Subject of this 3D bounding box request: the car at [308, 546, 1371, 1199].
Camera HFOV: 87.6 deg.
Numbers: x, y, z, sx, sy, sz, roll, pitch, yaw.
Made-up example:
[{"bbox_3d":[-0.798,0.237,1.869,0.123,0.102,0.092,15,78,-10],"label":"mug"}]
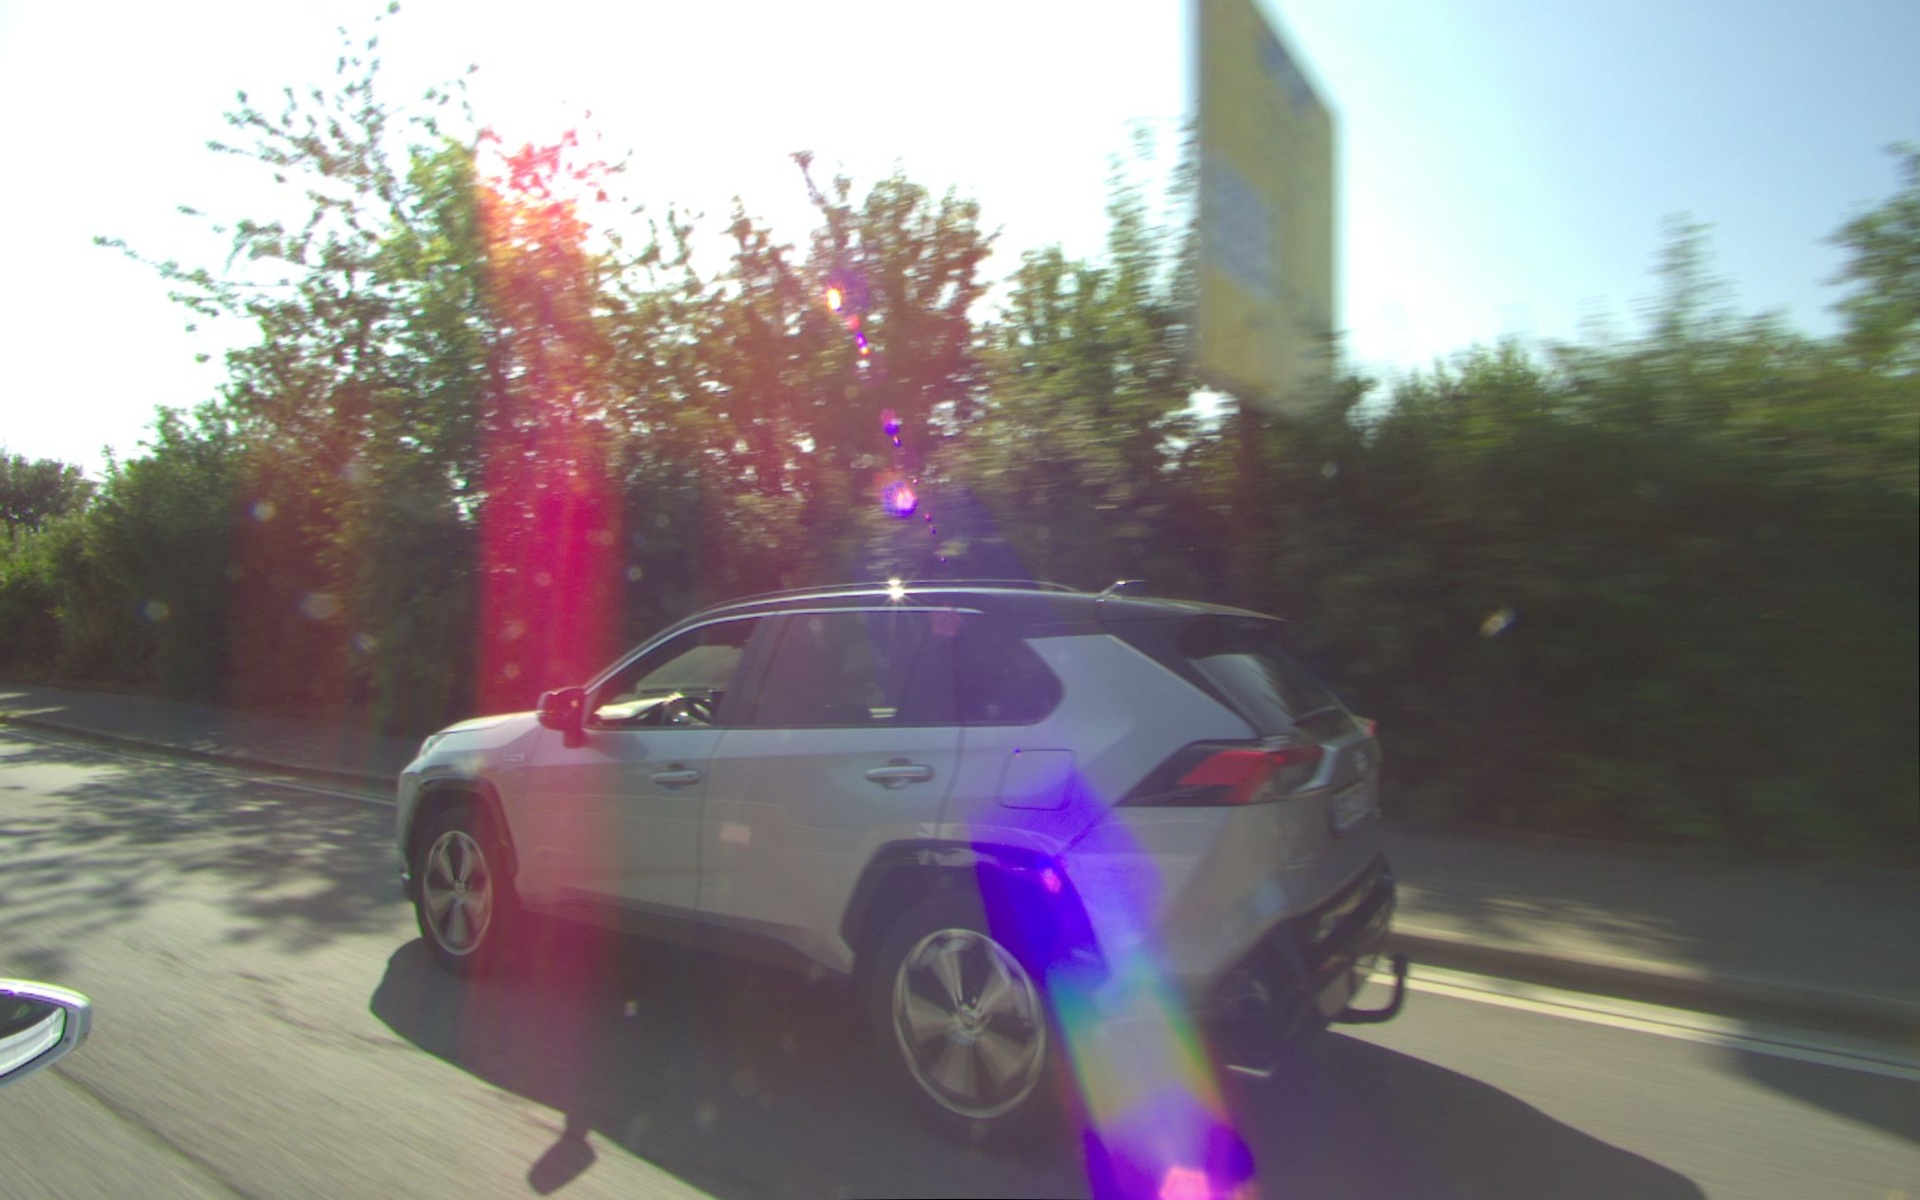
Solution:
[{"bbox_3d":[-0.779,0.774,4.508,4.617,1.701,1.898,-1,-2,33],"label":"car"}]
